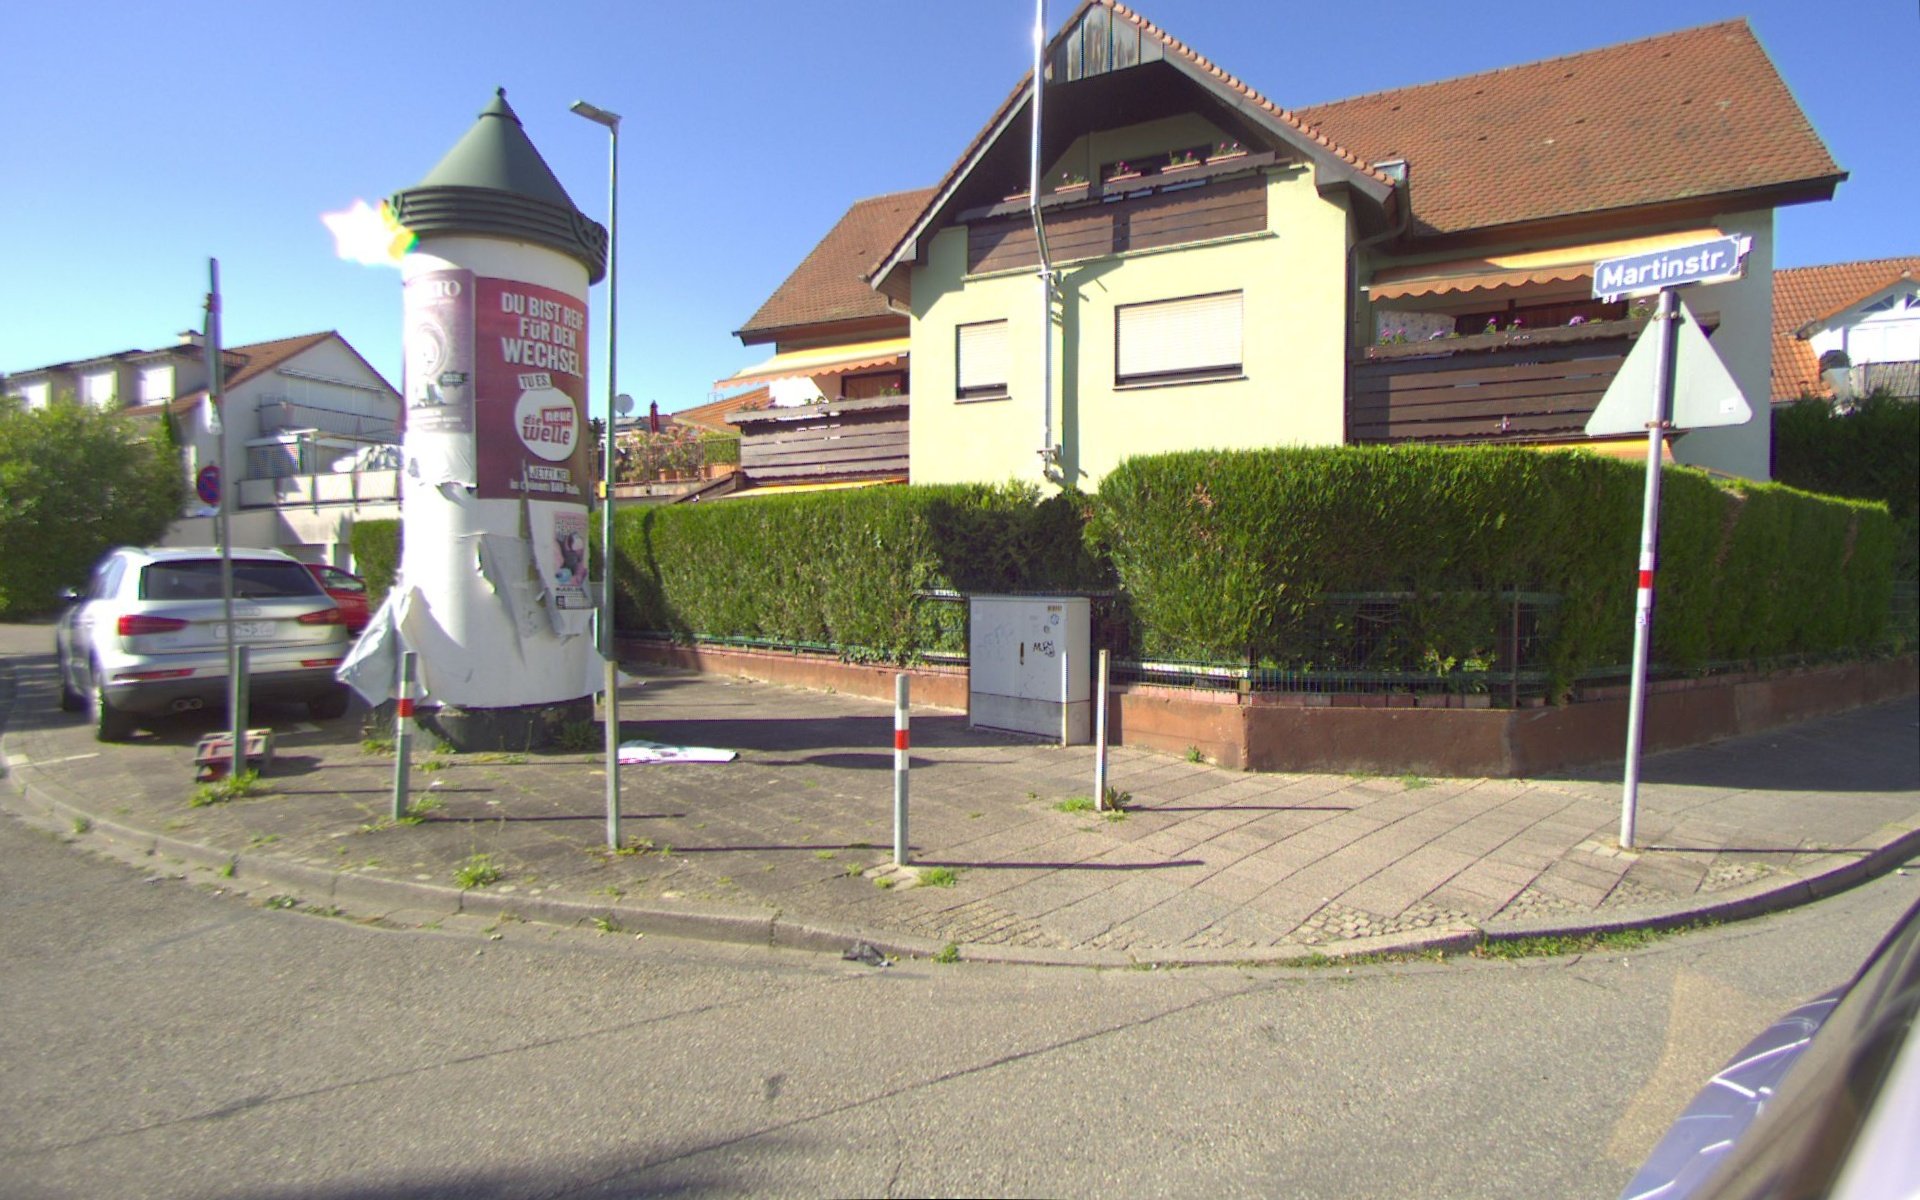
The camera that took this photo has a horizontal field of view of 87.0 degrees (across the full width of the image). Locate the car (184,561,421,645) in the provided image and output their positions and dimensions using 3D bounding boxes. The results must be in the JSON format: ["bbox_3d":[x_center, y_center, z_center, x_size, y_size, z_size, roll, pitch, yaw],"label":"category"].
[{"bbox_3d":[-13.153,-0.017,20.461,1.684,1.517,3.685,1,3,30],"label":"car"}]

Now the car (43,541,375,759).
[{"bbox_3d":[-7.263,0.282,9.618,4.290,1.612,1.787,2,3,43],"label":"car"}]
